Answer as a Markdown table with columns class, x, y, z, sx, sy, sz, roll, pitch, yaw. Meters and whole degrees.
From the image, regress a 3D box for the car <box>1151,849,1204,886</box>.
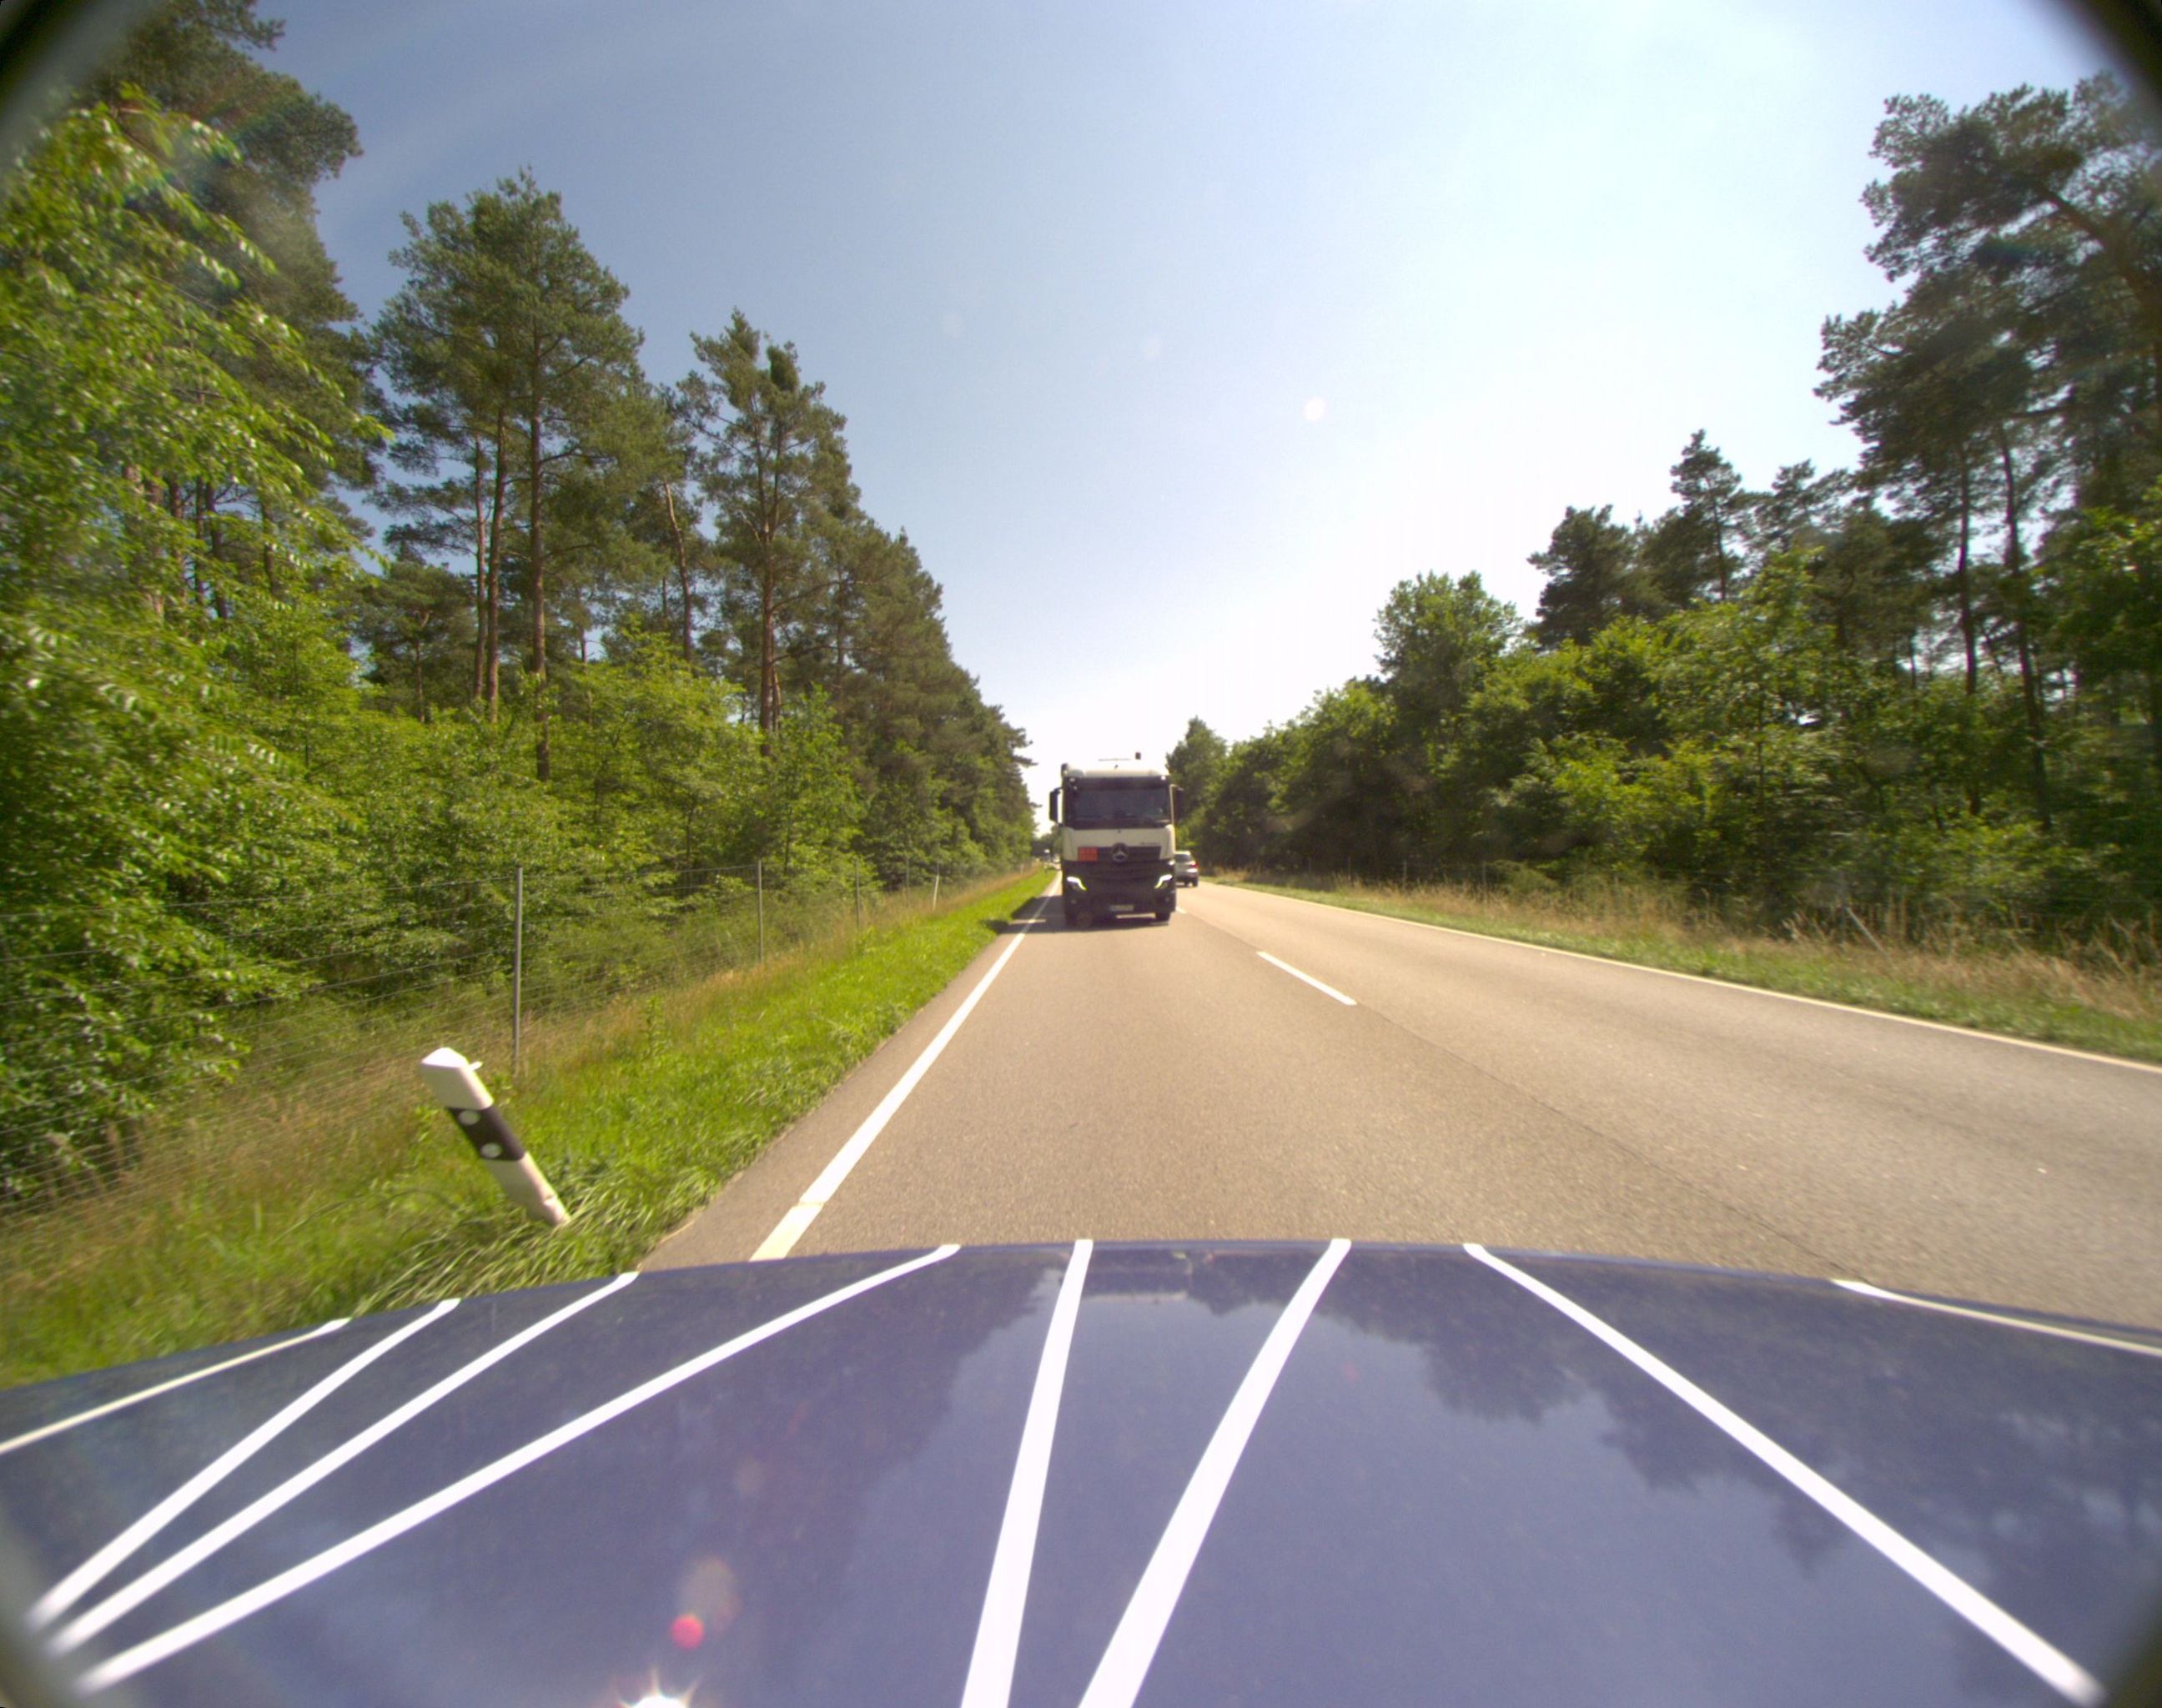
| class | x | y | z | sx | sy | sz | roll | pitch | yaw |
| --- | --- | --- | --- | --- | --- | --- | --- | --- | --- |
| car | 4.499 | 0.594 | 36.082 | 1.868 | 1.619 | 4.092 | -1 | 0 | -2 |

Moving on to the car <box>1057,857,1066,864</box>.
| class | x | y | z | sx | sy | sz | roll | pitch | yaw |
| --- | --- | --- | --- | --- | --- | --- | --- | --- | --- |
| car | -4.142 | 1.299 | 163.510 | 1.885 | 1.461 | 3.999 | -1 | 0 | -3 |

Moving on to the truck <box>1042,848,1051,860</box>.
| class | x | y | z | sx | sy | sz | roll | pitch | yaw |
| --- | --- | --- | --- | --- | --- | --- | --- | --- | --- |
| truck | -11.197 | 0.076 | 245.837 | 2.495 | 3.619 | 6.099 | -1 | 0 | -7 |

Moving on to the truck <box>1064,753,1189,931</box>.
| class | x | y | z | sx | sy | sz | roll | pitch | yaw |
| --- | --- | --- | --- | --- | --- | --- | --- | --- | --- |
| truck | 0.888 | -0.246 | 19.132 | 2.435 | 3.672 | 6.455 | -2 | 0 | -2 |

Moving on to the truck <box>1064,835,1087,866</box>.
| class | x | y | z | sx | sy | sz | roll | pitch | yaw |
| --- | --- | --- | --- | --- | --- | --- | --- | --- | --- |
| truck | -0.624 | -0.410 | 91.967 | 2.494 | 3.619 | 6.103 | -2 | 0 | 0 |
